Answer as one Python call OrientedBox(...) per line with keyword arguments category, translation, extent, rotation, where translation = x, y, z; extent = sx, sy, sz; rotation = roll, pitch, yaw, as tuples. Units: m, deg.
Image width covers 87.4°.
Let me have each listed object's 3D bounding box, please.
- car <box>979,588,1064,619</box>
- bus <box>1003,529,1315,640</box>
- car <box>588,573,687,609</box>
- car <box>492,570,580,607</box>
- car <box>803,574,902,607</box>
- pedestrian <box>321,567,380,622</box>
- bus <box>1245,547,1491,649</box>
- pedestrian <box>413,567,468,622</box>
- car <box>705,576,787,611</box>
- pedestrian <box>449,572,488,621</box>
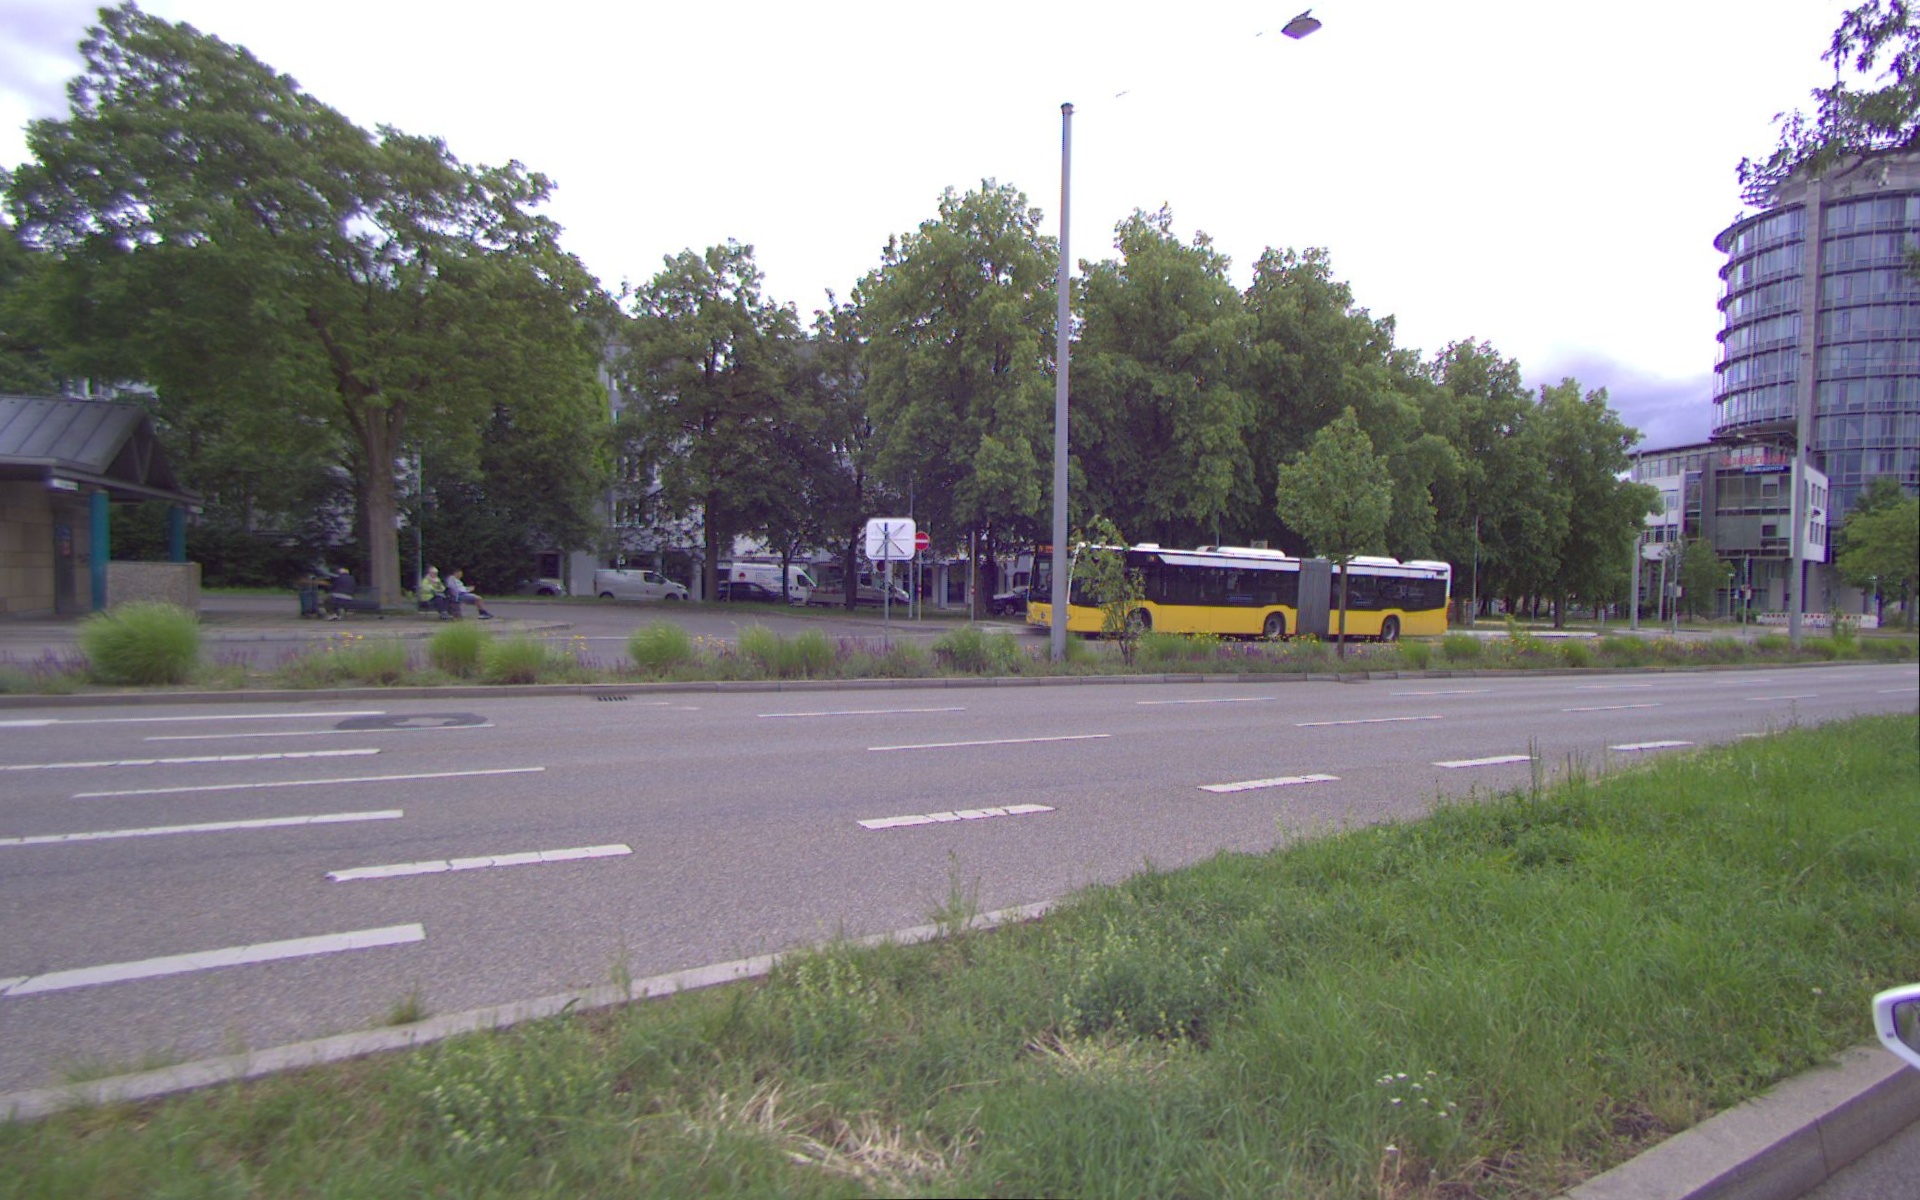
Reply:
OrientedBox(category="car", translation=(3.382, 0.188, 55.023), extent=(4.194, 1.602, 1.985), rotation=(1, 0, -28))
OrientedBox(category="bus", translation=(6.765, -0.411, 33.185), extent=(10.607, 3.205, 3.069), rotation=(1, 2, -29))
OrientedBox(category="car", translation=(-16.962, -0.467, 52.893), extent=(4.838, 1.746, 1.992), rotation=(2, 1, -18))
OrientedBox(category="car", translation=(-21.696, -0.588, 51.526), extent=(3.937, 1.706, 1.992), rotation=(2, 1, -18))
OrientedBox(category="car", translation=(-6.045, -0.522, 56.154), extent=(5.308, 1.670, 1.995), rotation=(1, 0, -12))
OrientedBox(category="pedestrian", translation=(-14.525, -0.134, 23.929), extent=(0.843, 1.271, 0.894), rotation=(2, 1, 30))
OrientedBox(category="bus", translation=(15.607, -0.024, 38.151), extent=(9.788, 3.502, 3.018), rotation=(1, 2, -28))
OrientedBox(category="pedestrian", translation=(-12.902, -0.136, 24.952), extent=(0.844, 1.307, 0.893), rotation=(2, 1, 35))
OrientedBox(category="car", translation=(-11.598, -0.343, 54.430), extent=(4.160, 1.706, 1.992), rotation=(2, 0, -18))
OrientedBox(category="pedestrian", translation=(-13.017, -0.099, 26.576), extent=(0.848, 1.271, 0.888), rotation=(1, 1, -31))
